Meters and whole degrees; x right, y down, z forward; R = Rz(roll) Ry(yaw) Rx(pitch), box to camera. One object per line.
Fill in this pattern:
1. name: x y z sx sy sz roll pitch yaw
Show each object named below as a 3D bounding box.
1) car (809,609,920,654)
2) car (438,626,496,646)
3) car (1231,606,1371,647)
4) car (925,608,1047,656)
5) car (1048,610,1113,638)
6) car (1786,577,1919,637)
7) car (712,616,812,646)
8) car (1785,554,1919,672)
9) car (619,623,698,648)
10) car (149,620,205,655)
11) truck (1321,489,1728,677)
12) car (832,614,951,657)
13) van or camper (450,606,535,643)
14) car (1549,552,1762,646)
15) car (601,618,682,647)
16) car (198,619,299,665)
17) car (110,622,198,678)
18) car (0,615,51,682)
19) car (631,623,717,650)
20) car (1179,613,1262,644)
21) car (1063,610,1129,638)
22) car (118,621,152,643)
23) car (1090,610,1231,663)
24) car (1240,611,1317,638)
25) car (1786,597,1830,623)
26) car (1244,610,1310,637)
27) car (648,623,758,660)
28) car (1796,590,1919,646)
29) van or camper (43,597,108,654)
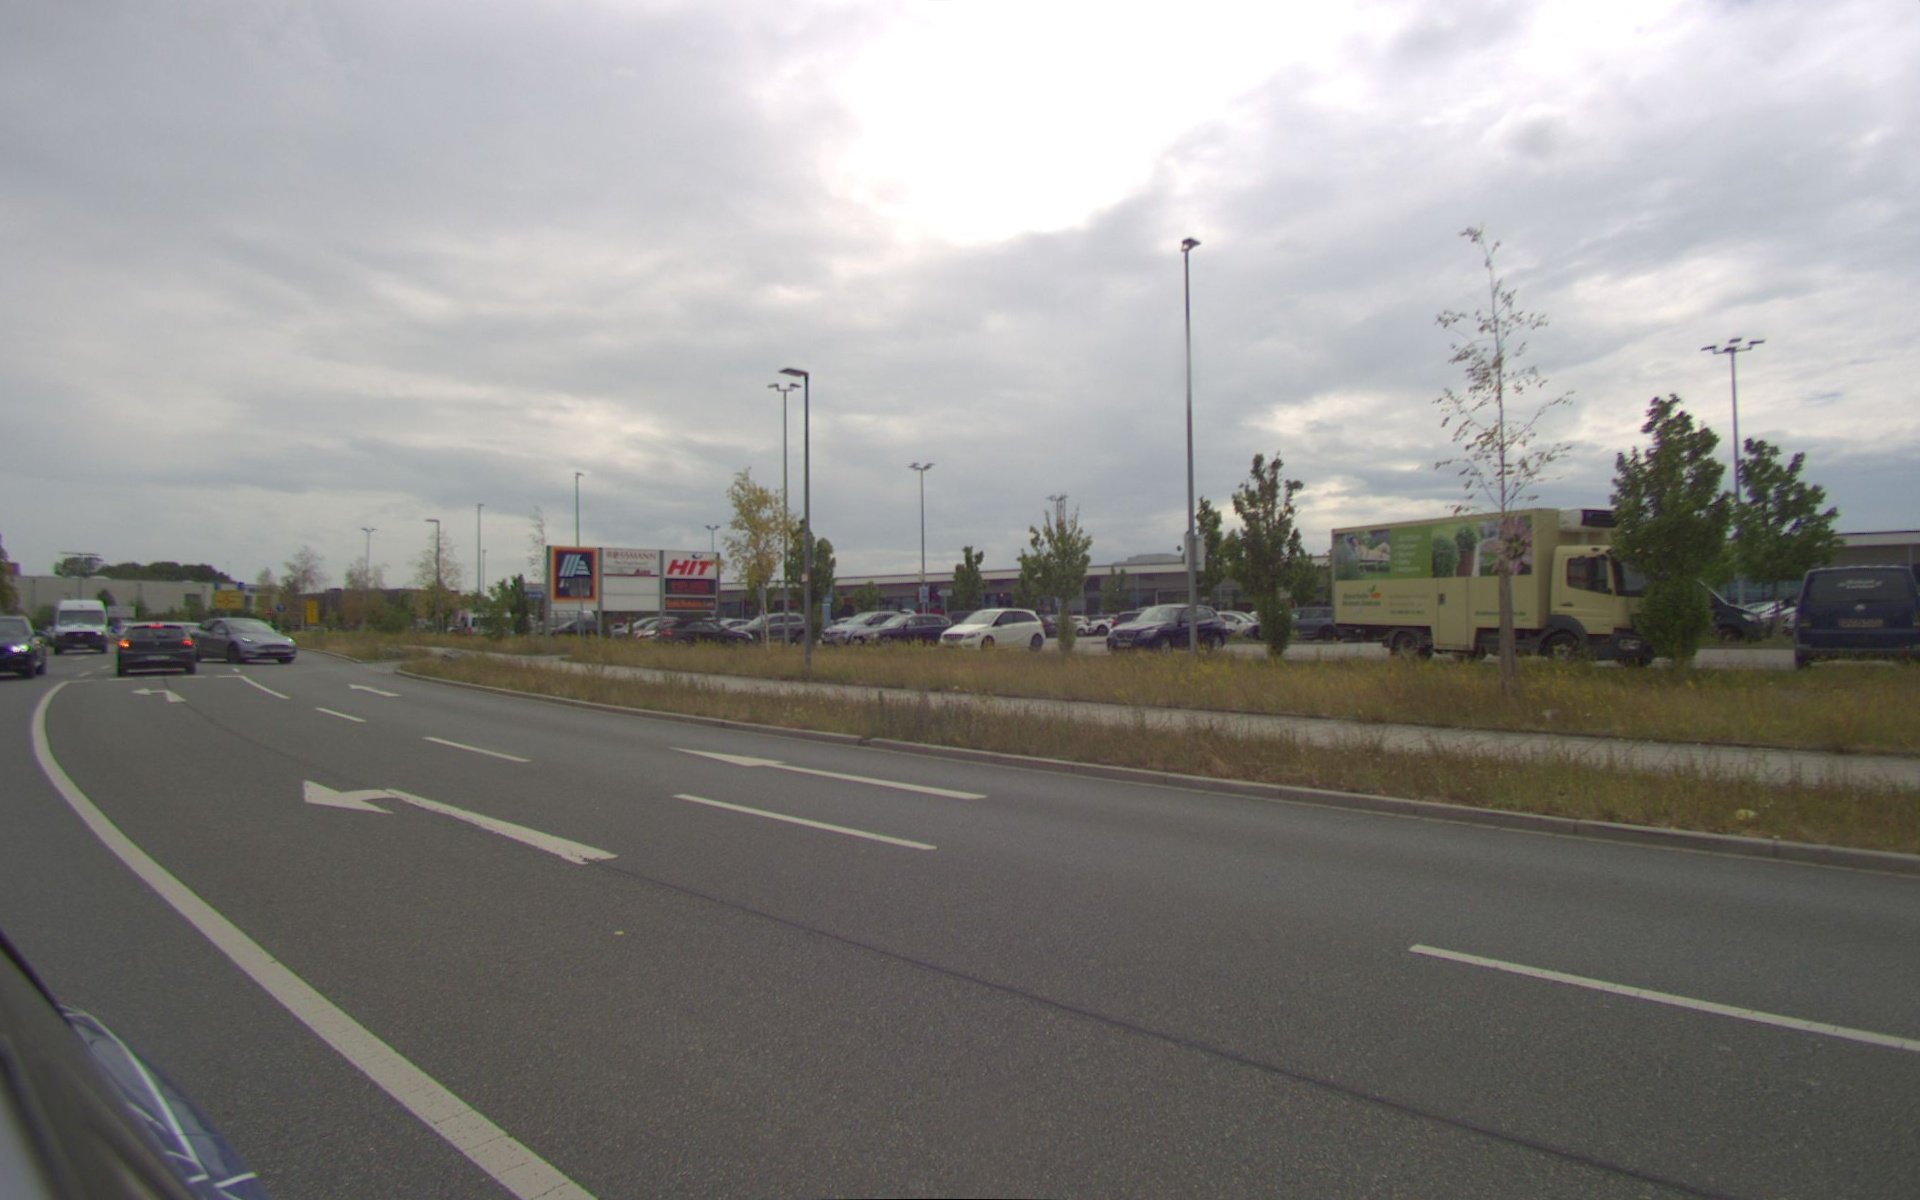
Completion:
1. car: -3.879 1.265 41.573 4.191 1.736 2.031 1 -2 -42
2. car: -41.383 3.003 84.974 2.086 1.646 3.898 -2 -3 45
3. car: 14.119 1.132 41.992 5.252 1.619 1.980 -2 -2 30
4. car: 0.946 1.119 35.225 1.989 1.571 4.201 -2 -3 42
5. car: 7.887 1.596 66.528 3.992 1.830 1.640 -1 -2 36
6. car: 29.609 0.235 32.618 4.247 1.863 1.981 -1 -2 28
7. car: -9.640 1.522 49.304 4.300 1.402 2.170 1 -2 -36
8. car: 17.371 0.264 19.498 2.177 2.005 4.851 -1 -2 40
9. car: -17.629 2.056 59.266 4.031 1.402 2.004 1 -2 -37
10. car: -34.295 1.600 44.361 1.855 1.480 4.202 1 -2 -37
11. truck: 12.481 -0.251 23.650 2.809 3.568 8.456 0 -1 -20
12. car: -2.624 1.330 39.139 4.187 1.525 2.050 0 -1 -38
13. van or camper: -37.800 1.982 81.914 2.243 2.821 5.788 -1 -2 43
14. car: 21.374 0.056 31.418 5.119 2.711 2.046 -1 -2 27
15. car: -19.244 1.957 61.254 4.246 1.667 2.084 1 -3 -40
16. car: -26.135 1.519 37.109 4.610 1.573 1.973 -2 -2 41
17. car: -22.577 1.345 28.351 1.806 1.431 4.253 0 -2 -39
18. car: -25.717 1.278 26.767 1.967 1.677 4.010 0 -1 -34
19. car: -16.171 2.059 57.248 4.263 1.468 2.014 1 -2 -39
20. car: 14.038 1.558 54.605 3.984 1.619 1.980 -2 -2 30
21. car: 9.141 1.601 68.159 4.148 1.829 1.748 -1 -2 36
22. car: -66.305 2.568 81.360 1.968 1.649 4.712 3 -3 -38
23. car: 5.894 1.044 29.452 4.182 1.446 1.999 1 -3 -44
24. car: 19.899 1.525 63.343 4.276 1.619 1.980 -2 -2 30
25. car: 55.228 0.690 65.996 1.997 1.619 3.949 -1 -2 38
26. car: 21.468 1.593 68.537 3.984 1.746 1.980 -2 -2 30
27. car: -10.766 1.704 42.486 4.160 1.449 1.779 1 -1 -33
28. car: 27.503 0.539 29.907 3.981 1.614 1.658 -1 -2 28
29. van or camper: -42.942 1.261 49.179 2.230 2.636 5.704 1 -3 -41
